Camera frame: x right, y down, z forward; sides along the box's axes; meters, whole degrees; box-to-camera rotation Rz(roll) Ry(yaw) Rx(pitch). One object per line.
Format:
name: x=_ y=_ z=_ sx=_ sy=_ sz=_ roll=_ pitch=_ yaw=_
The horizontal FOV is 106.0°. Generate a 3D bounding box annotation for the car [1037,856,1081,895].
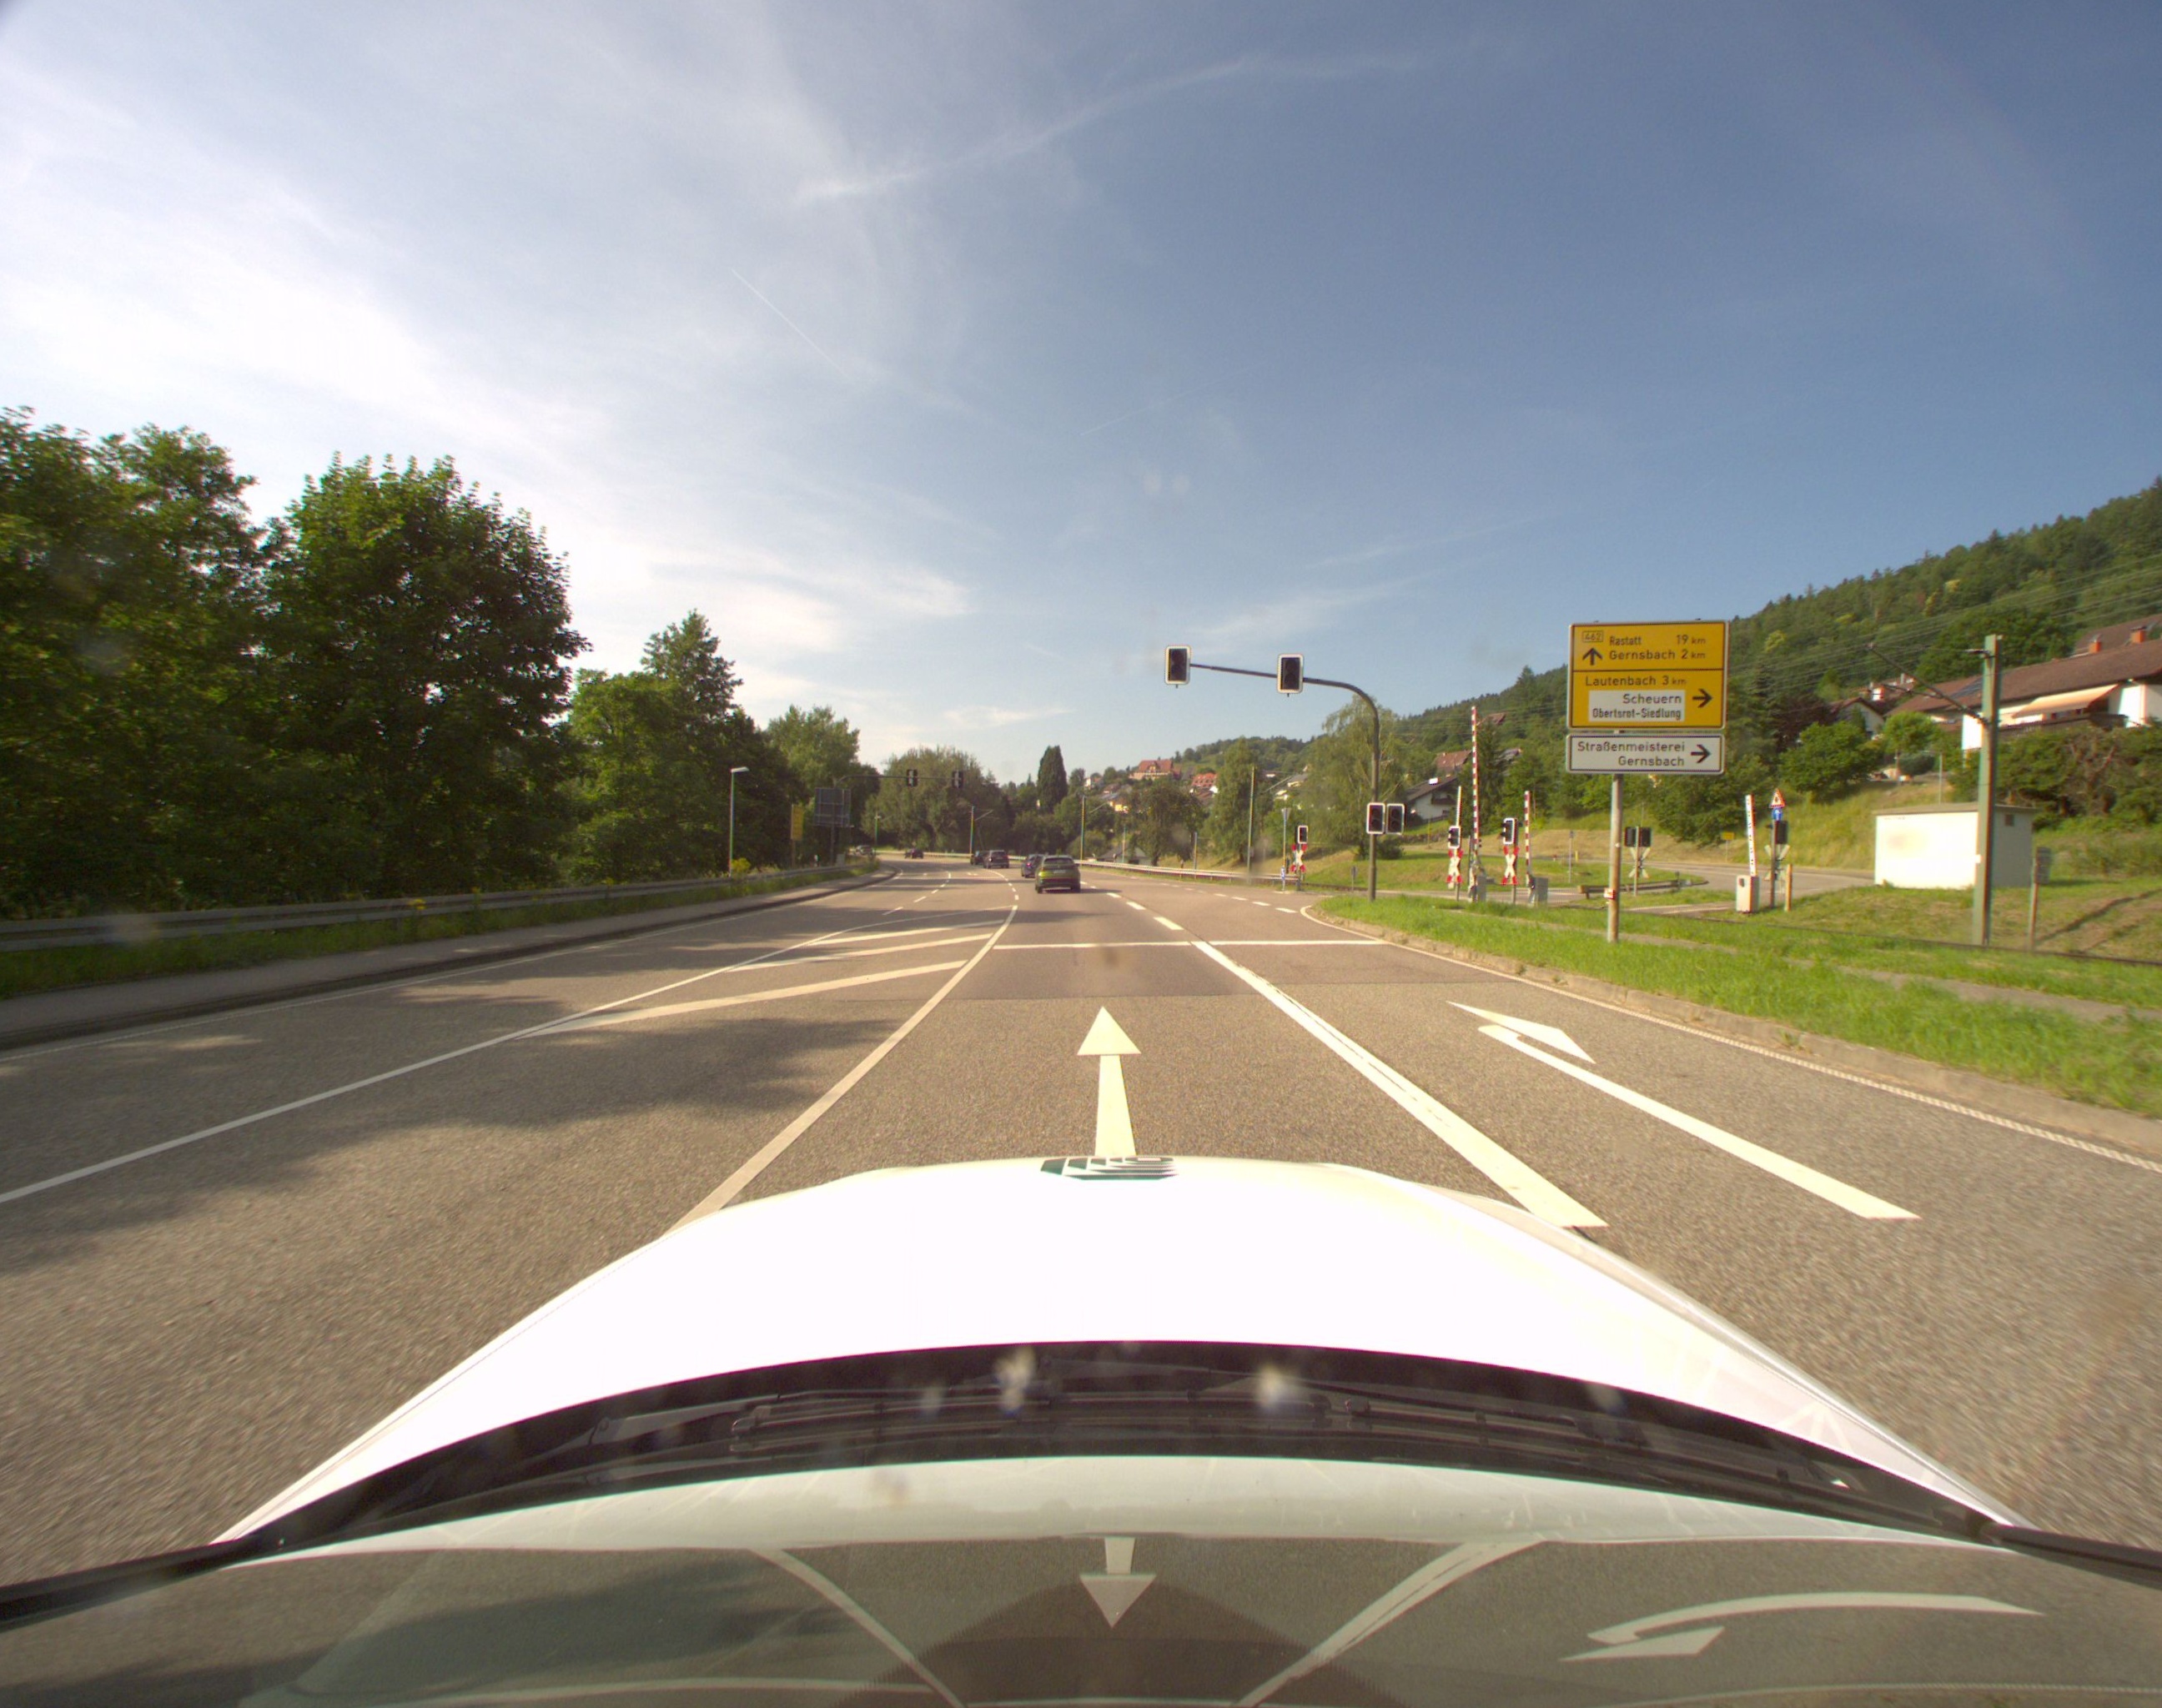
car: x=-0.872 y=0.842 z=33.428 sx=1.709 sy=1.455 sz=3.998 roll=-1 pitch=0 yaw=-1

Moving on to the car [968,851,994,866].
car: x=-10.675 y=0.492 z=86.696 sx=1.856 sy=1.527 sz=3.636 roll=0 pitch=0 yaw=-21

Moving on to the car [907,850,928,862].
car: x=-23.349 y=0.257 z=116.089 sx=2.004 sy=1.745 sz=3.966 roll=1 pitch=0 yaw=-26

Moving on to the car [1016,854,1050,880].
car: x=-3.020 y=0.789 z=50.529 sx=1.667 sy=1.559 sz=3.987 roll=0 pitch=0 yaw=-9

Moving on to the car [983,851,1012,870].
car: x=-7.543 y=0.573 z=73.006 sx=1.884 sy=1.686 sz=3.977 roll=1 pitch=0 yaw=-17

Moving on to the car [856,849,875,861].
car: x=-35.710 y=0.157 z=134.769 sx=2.077 sy=1.811 sz=3.960 roll=0 pitch=1 yaw=-32
